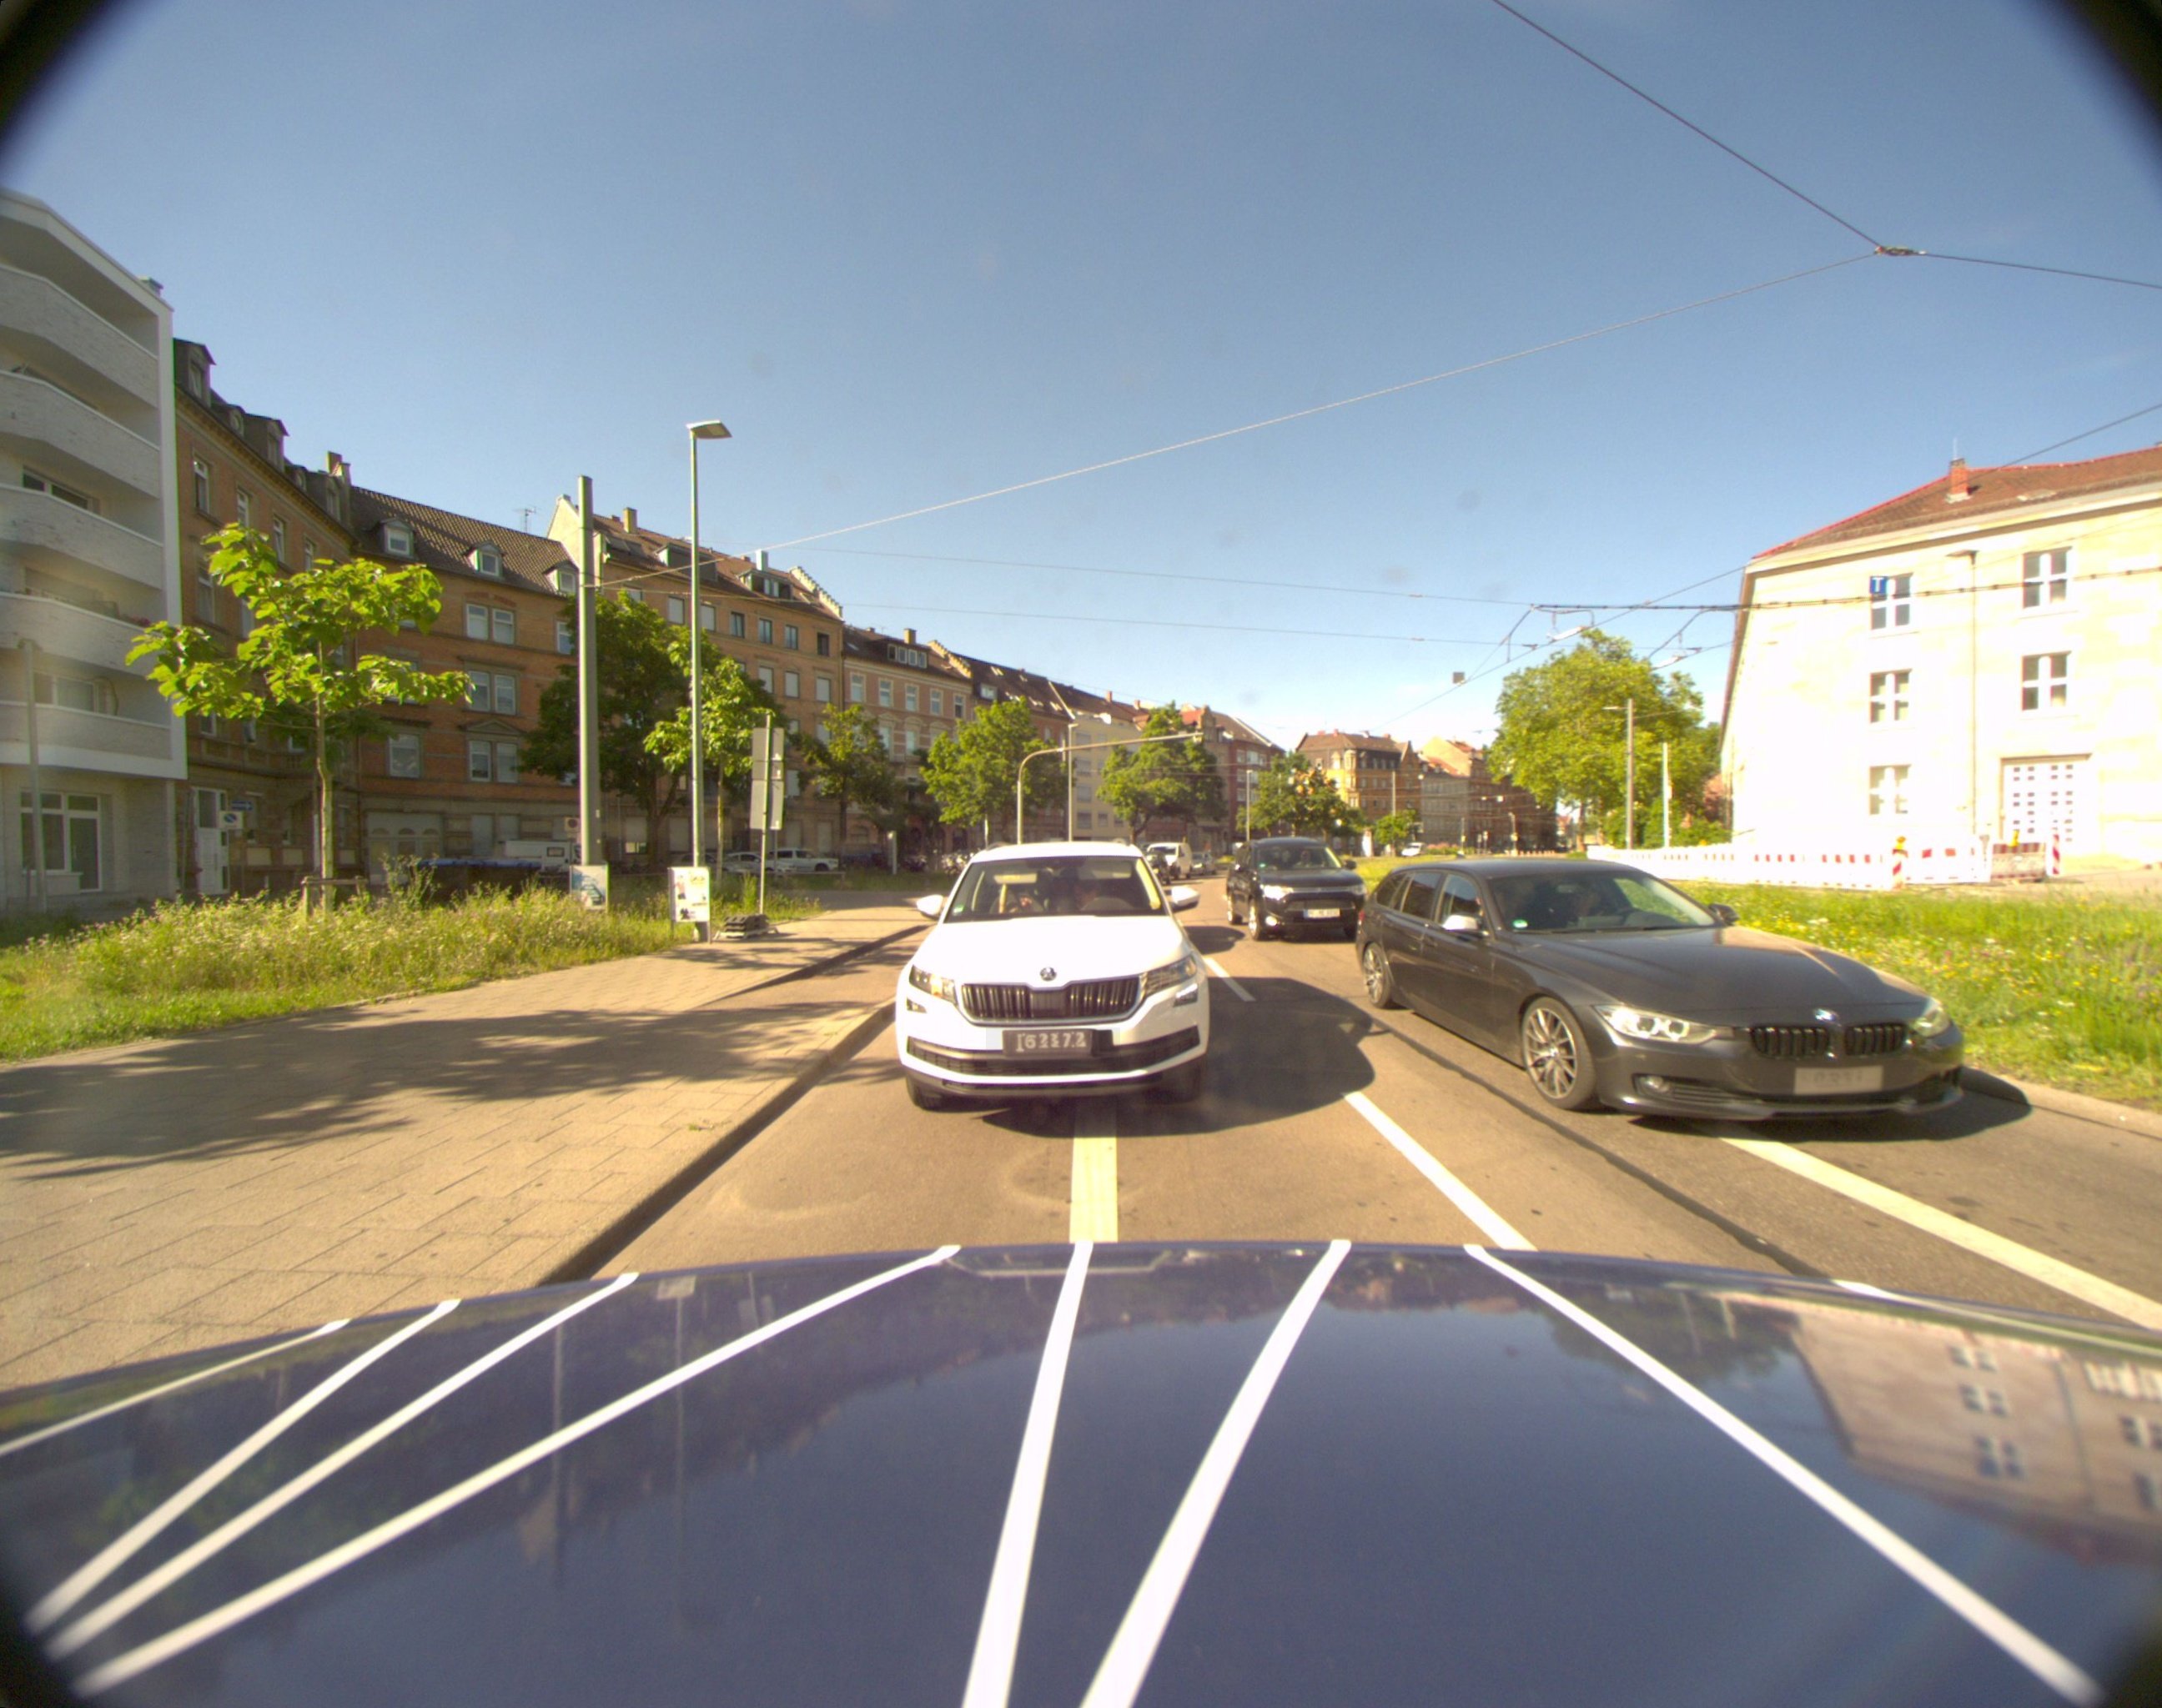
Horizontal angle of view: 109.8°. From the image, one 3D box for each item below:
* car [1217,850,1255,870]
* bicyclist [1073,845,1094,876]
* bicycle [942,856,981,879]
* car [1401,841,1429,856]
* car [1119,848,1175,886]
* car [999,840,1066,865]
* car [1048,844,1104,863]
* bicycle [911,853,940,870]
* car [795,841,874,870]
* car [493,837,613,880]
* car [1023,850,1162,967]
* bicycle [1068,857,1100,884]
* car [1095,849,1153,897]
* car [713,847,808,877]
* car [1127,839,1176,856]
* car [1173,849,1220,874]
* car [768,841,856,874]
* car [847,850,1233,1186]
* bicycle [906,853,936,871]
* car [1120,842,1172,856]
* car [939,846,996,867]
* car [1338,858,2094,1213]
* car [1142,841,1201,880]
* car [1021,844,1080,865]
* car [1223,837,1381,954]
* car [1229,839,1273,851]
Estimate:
[{"bbox_3d":[11.656,0.398,57.032,1.826,1.377,4.662,-1,1,24],"label":"car"},{"bbox_3d":[0.094,0.294,34.356,0.697,1.369,0.736,0,3,-24],"label":"bicyclist"},{"bbox_3d":[-5.775,0.640,36.658,1.764,1.018,0.567,-1,1,-26],"label":"bicycle"},{"bbox_3d":[36.757,-0.586,83.562,1.869,1.547,4.008,0,1,39],"label":"car"},{"bbox_3d":[3.070,0.541,34.745,1.871,1.605,3.913,-1,1,15],"label":"car"},{"bbox_3d":[-3.555,-0.129,56.113,4.789,1.761,1.732,-1,1,3],"label":"car"},{"bbox_3d":[-0.342,-0.042,61.274,4.397,1.453,2.000,-1,1,2],"label":"car"},{"bbox_3d":[-9.411,0.434,45.942,1.757,1.018,0.453,0,1,26],"label":"bicycle"},{"bbox_3d":[-14.719,0.074,45.517,3.996,1.652,2.000,-1,1,3],"label":"car"},{"bbox_3d":[-27.033,0.183,39.058,1.994,2.100,4.652,0,1,40],"label":"car"},{"bbox_3d":[0.186,0.733,12.364,1.873,1.547,4.000,-1,1,1],"label":"car"},{"bbox_3d":[0.110,0.735,34.324,0.697,1.099,2.006,0,3,-24],"label":"bicycle"},{"bbox_3d":[1.468,0.618,27.050,1.873,1.547,4.000,-1,1,1],"label":"car"},{"bbox_3d":[-16.432,0.390,39.106,3.996,1.455,2.000,-1,1,3],"label":"car"},{"bbox_3d":[6.652,-0.601,71.341,4.393,1.453,2.002,-1,1,13],"label":"car"},{"bbox_3d":[7.086,0.449,46.465,1.870,1.439,3.915,-1,1,24],"label":"car"},{"bbox_3d":[-14.591,0.180,41.388,3.996,1.652,2.000,-1,1,3],"label":"car"},{"bbox_3d":[-0.170,0.799,5.900,1.873,1.621,4.338,-1,1,1],"label":"car"},{"bbox_3d":[-9.464,0.482,44.909,1.757,1.018,0.453,0,1,26],"label":"bicycle"},{"bbox_3d":[5.892,-0.462,68.485,4.393,1.227,2.002,-1,1,13],"label":"car"},{"bbox_3d":[-7.631,0.173,51.235,3.462,1.324,1.732,-1,1,3],"label":"car"},{"bbox_3d":[3.494,0.804,5.525,1.840,1.422,4.484,-2,1,2],"label":"car"},{"bbox_3d":[4.928,0.293,40.852,1.870,1.970,4.662,0,1,24],"label":"car"},{"bbox_3d":[-2.297,0.034,58.666,4.397,1.498,2.000,-1,1,2],"label":"car"},{"bbox_3d":[3.653,0.591,13.362,1.768,1.675,4.328,-2,1,4],"label":"car"},{"bbox_3d":[18.896,-0.993,84.593,4.397,1.203,2.000,-1,1,3],"label":"car"}]
